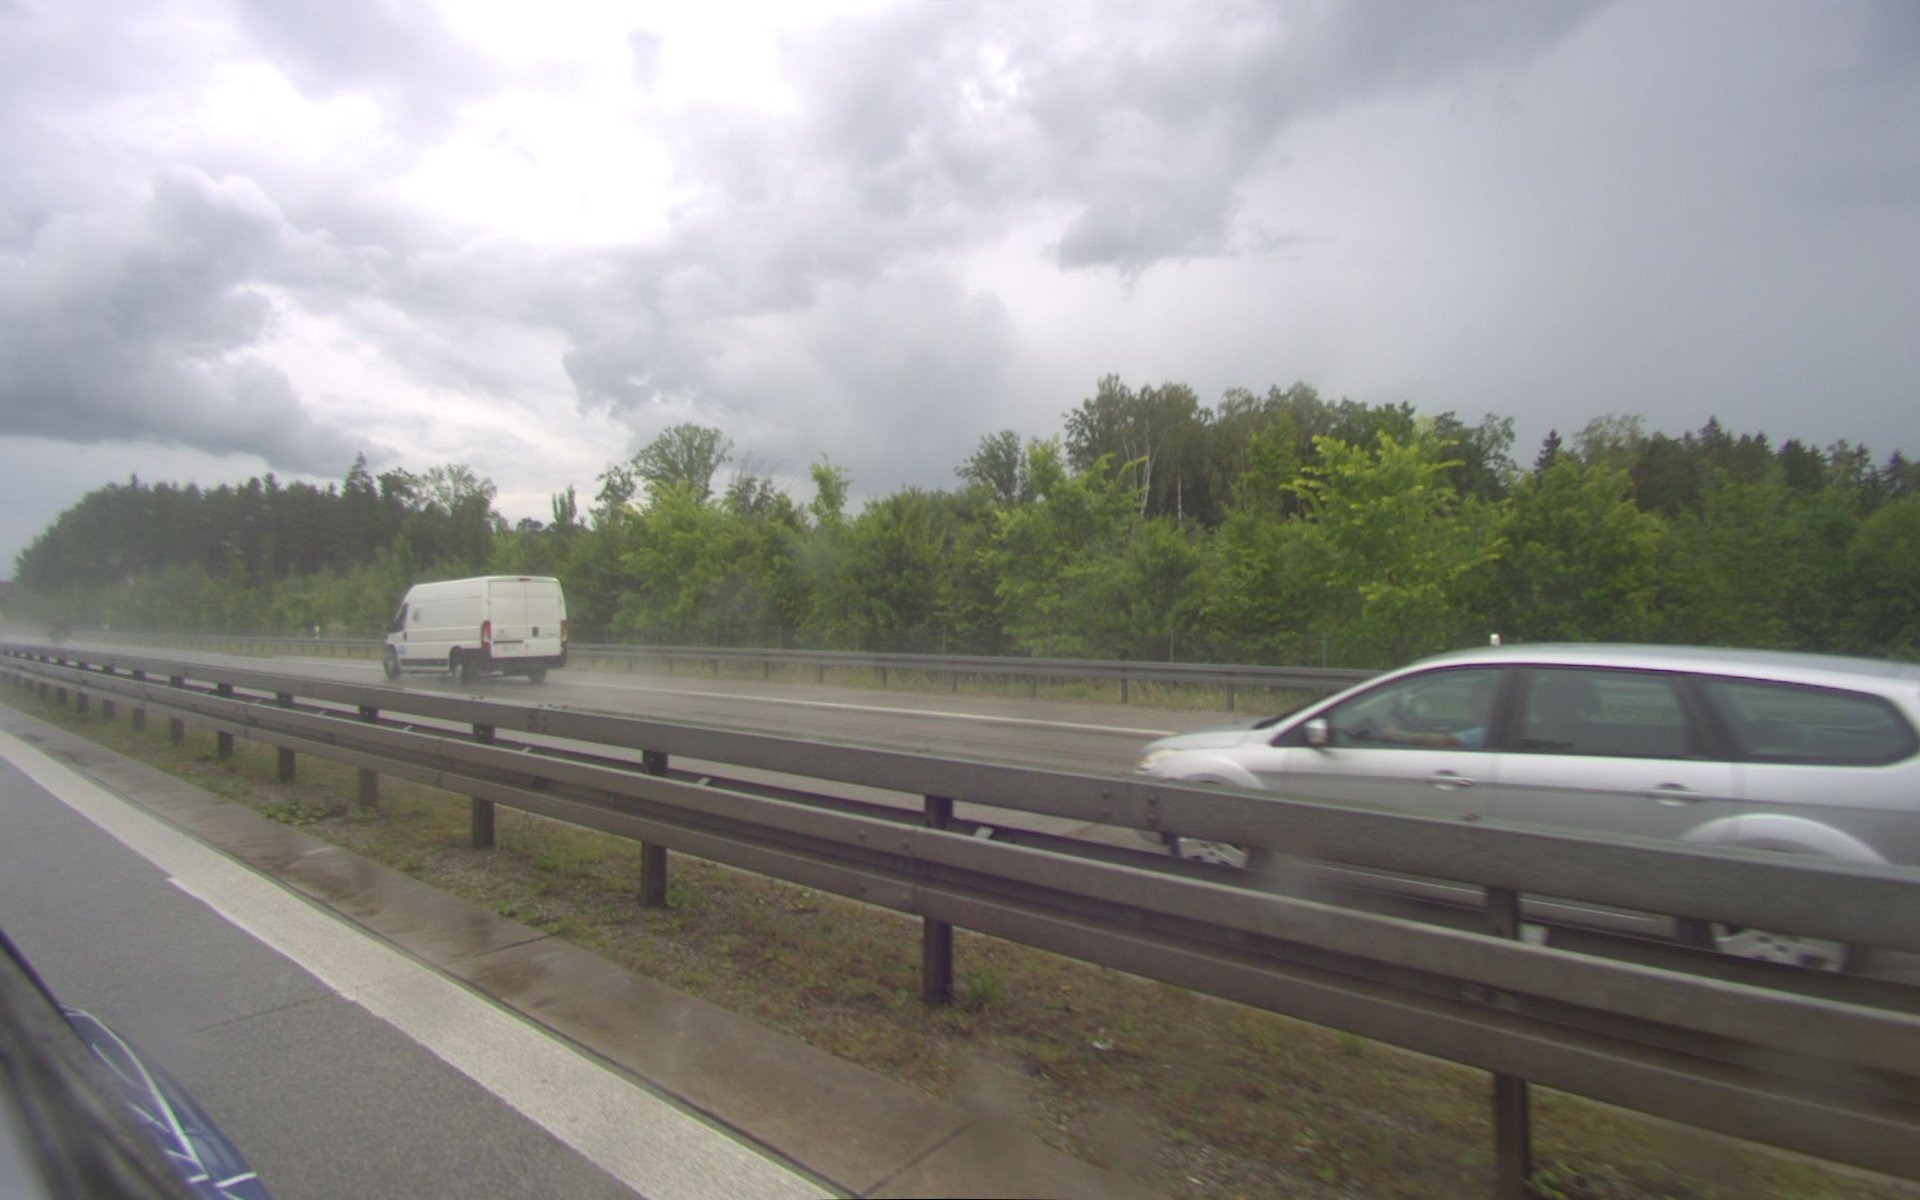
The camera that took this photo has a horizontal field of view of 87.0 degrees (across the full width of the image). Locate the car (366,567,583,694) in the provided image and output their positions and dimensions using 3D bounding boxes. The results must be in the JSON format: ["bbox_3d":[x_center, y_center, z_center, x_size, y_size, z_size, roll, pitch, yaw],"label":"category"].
[{"bbox_3d":[-12.188,0.738,25.105,6.871,2.770,2.326,-1,-2,41],"label":"car"}]

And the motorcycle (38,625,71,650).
[{"bbox_3d":[-50.838,2.087,56.826,2.412,1.400,1.062,-1,-2,41],"label":"motorcycle"}]

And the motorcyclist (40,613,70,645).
[{"bbox_3d":[-50.815,1.609,56.813,1.444,1.770,1.057,-1,-2,40],"label":"motorcyclist"}]

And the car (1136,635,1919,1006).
[{"bbox_3d":[3.393,0.905,5.317,4.599,1.429,1.751,-1,-2,38],"label":"car"}]
